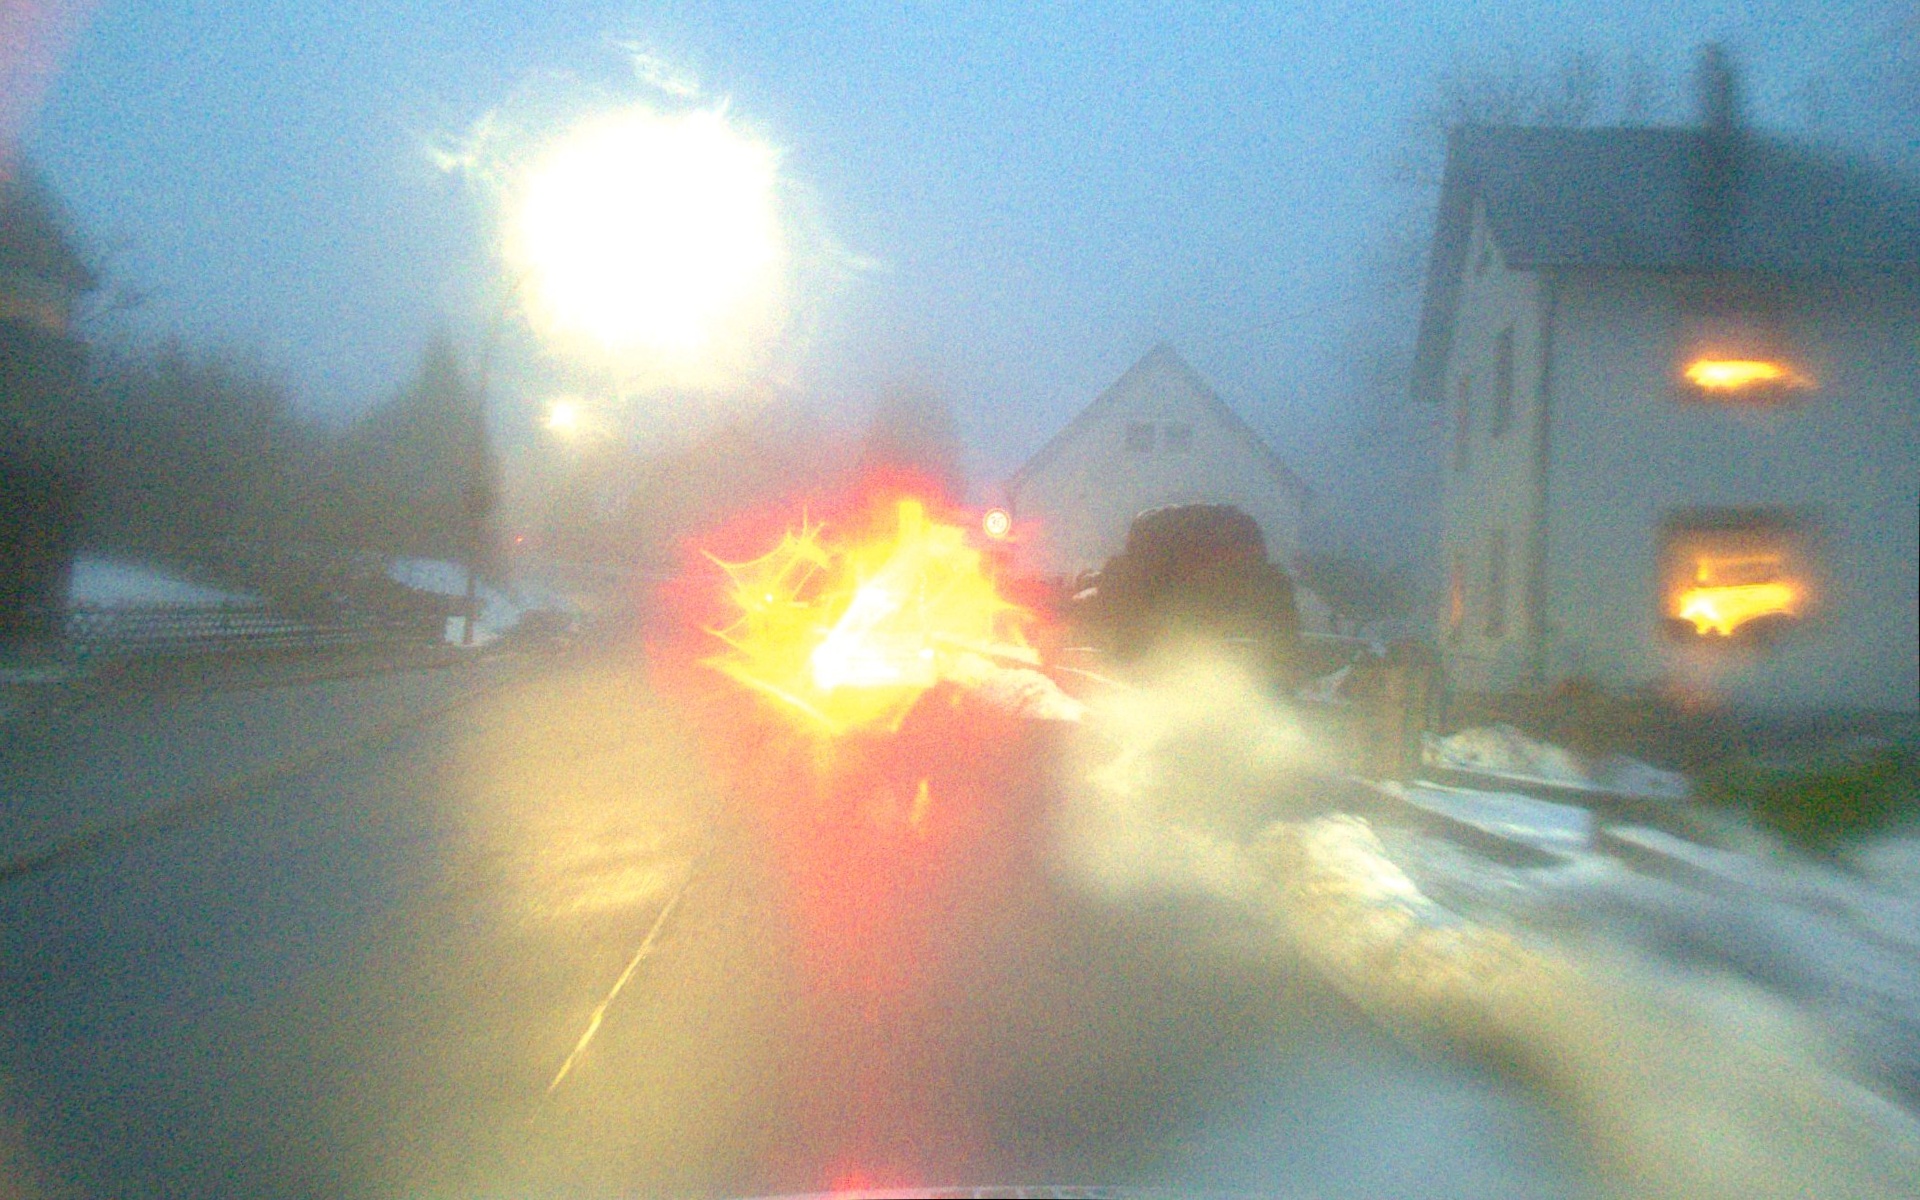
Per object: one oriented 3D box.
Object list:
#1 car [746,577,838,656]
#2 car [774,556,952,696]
[{"bbox_3d":[-4.078,0.404,39.689,1.957,1.767,3.870,1,-1,-9],"label":"car"},{"bbox_3d":[-1.361,0.339,21.564,1.863,1.637,3.990,1,-1,-10],"label":"car"}]
